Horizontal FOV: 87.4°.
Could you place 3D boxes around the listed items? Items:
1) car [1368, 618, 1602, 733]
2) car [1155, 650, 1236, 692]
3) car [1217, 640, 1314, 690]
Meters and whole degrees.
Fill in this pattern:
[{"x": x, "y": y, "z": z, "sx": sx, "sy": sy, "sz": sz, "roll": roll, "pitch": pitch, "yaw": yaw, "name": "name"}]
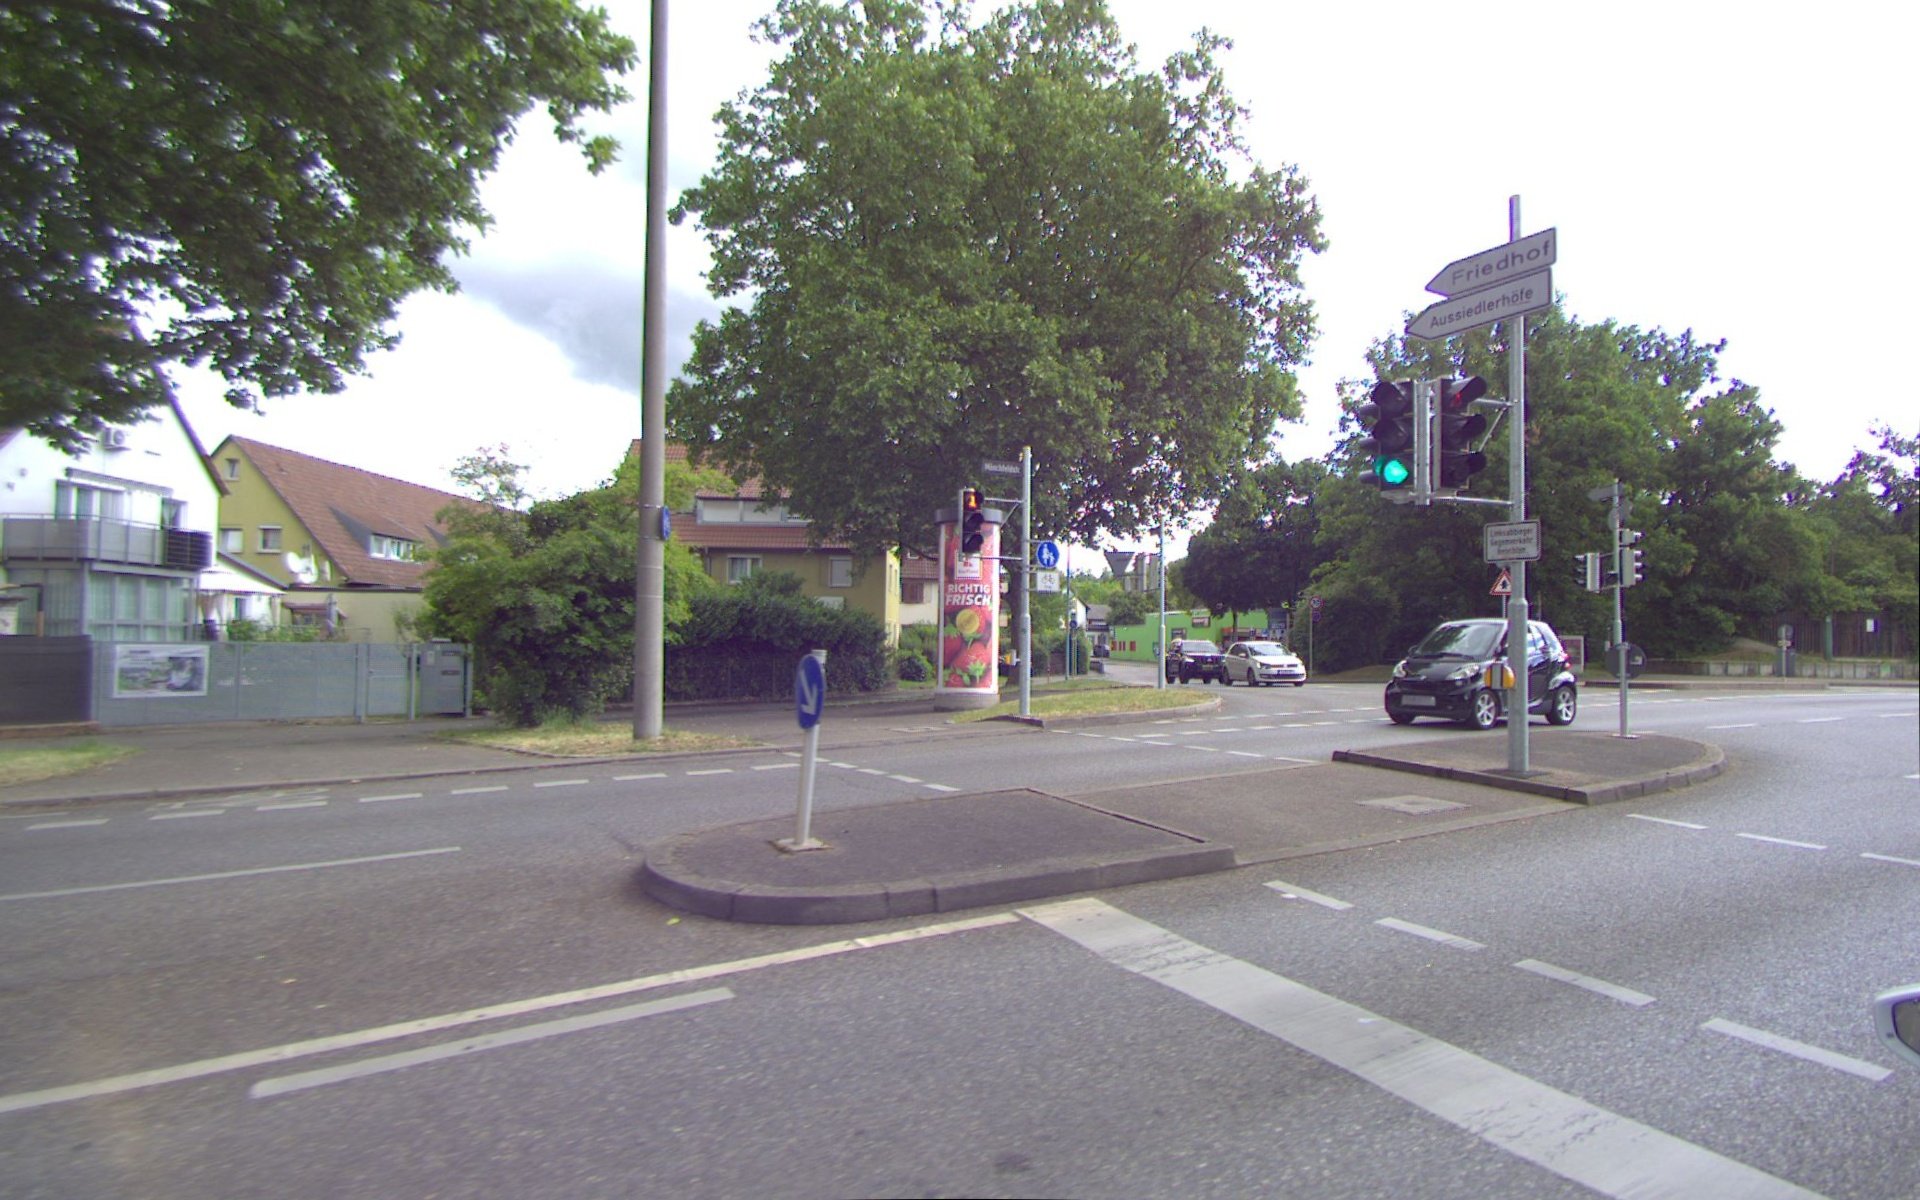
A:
[{"x": 7.802, "y": 1.056, "z": 14.928, "sx": 3.148, "sy": 1.547, "sz": 1.563, "roll": 1, "pitch": -2, "yaw": -27, "name": "car"}, {"x": 9.505, "y": 2.853, "z": 40.919, "sx": 1.962, "sy": 1.566, "sz": 4.268, "roll": 1, "pitch": -3, "yaw": -5, "name": "car"}, {"x": 9.727, "y": 2.044, "z": 32.230, "sx": 1.791, "sy": 1.499, "sz": 3.854, "roll": 1, "pitch": -2, "yaw": -3, "name": "car"}]
